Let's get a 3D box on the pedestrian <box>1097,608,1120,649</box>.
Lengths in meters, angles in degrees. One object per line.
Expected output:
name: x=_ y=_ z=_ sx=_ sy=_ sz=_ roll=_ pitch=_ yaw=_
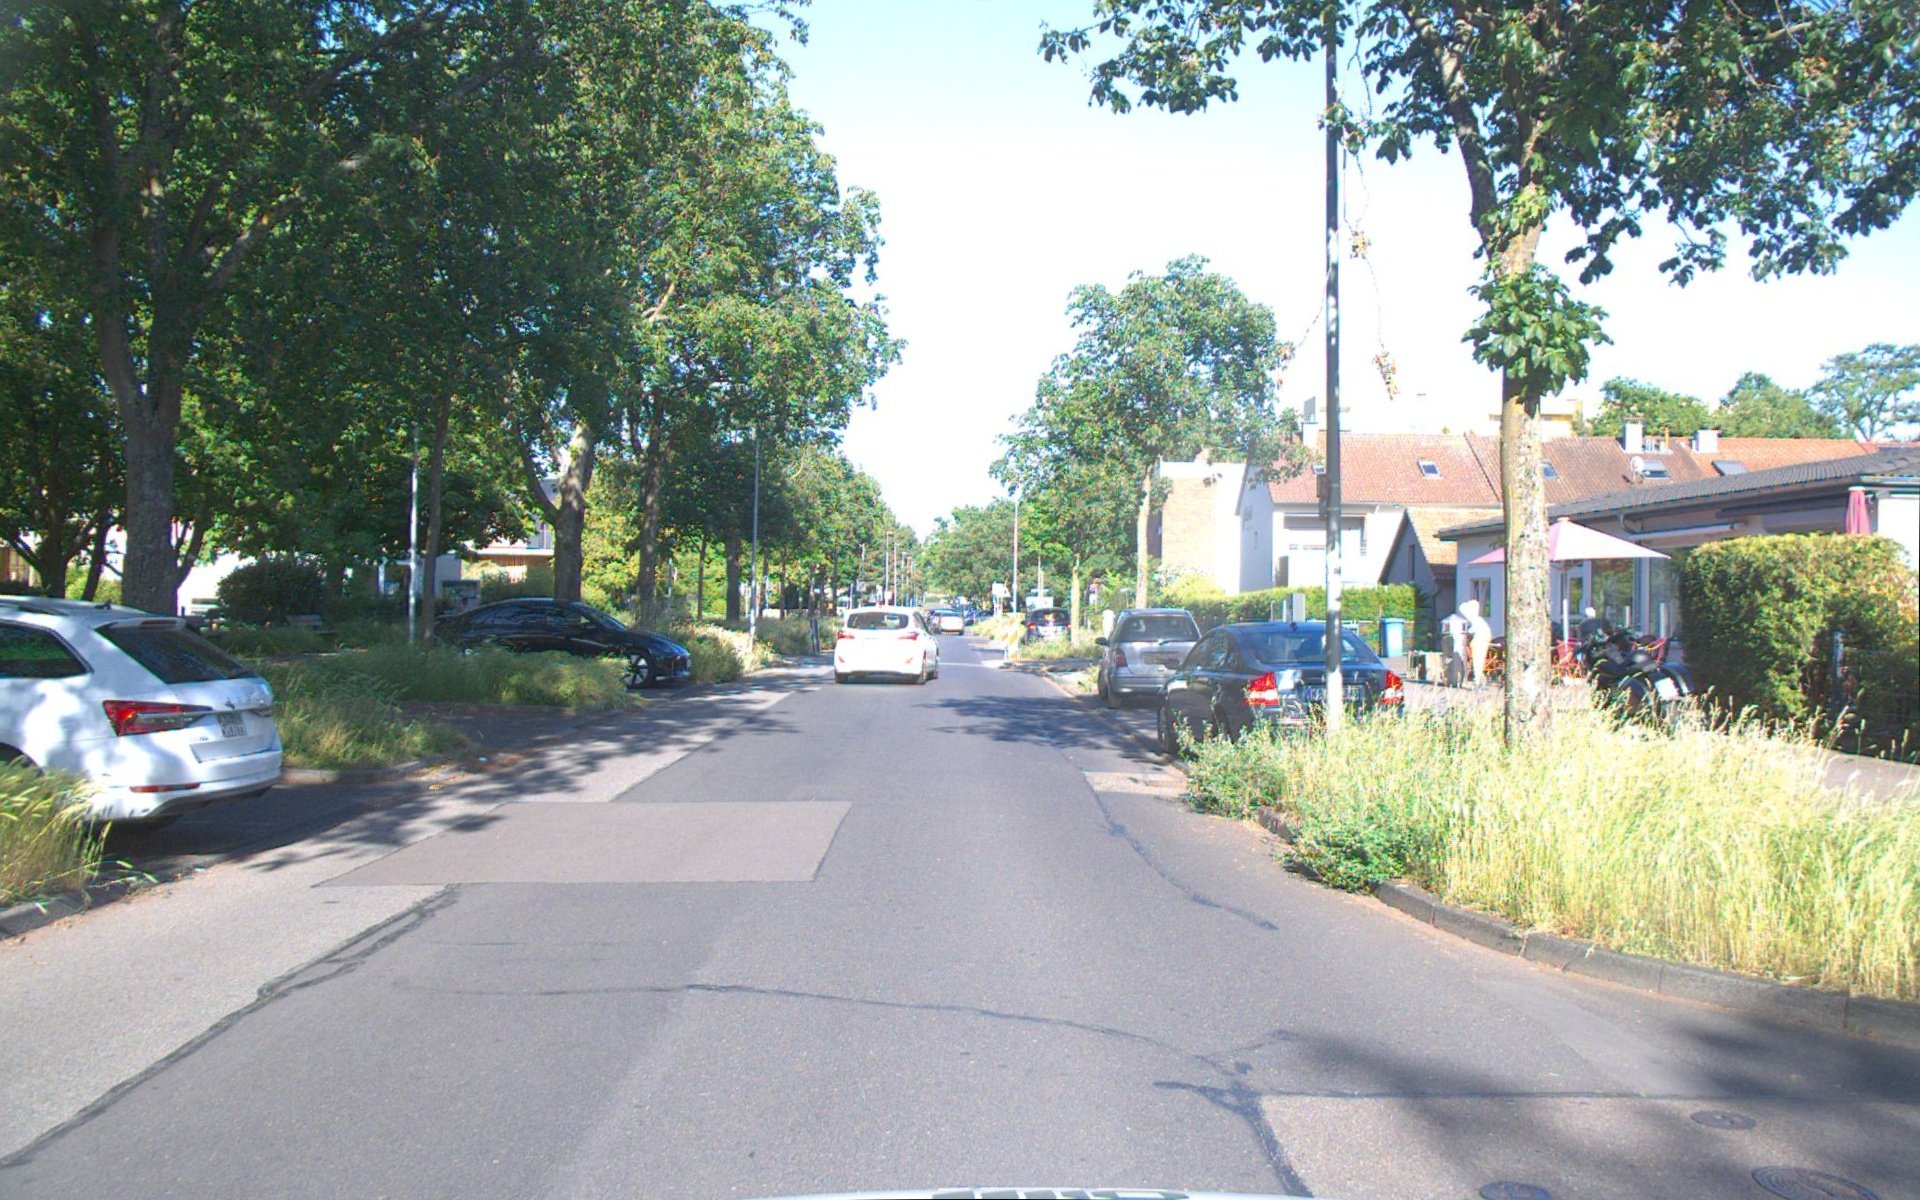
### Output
pedestrian: x=7.577 y=1.459 z=84.511 sx=1.090 sy=2.049 sz=0.921 roll=1 pitch=0 yaw=-1

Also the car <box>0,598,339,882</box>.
car: x=-6.520 y=0.749 z=10.198 sx=4.575 sy=1.530 sz=2.000 roll=1 pitch=0 yaw=1

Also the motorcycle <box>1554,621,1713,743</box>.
motorcycle: x=7.573 y=0.885 z=18.735 sx=0.801 sy=1.248 sz=2.351 roll=-1 pitch=0 yaw=-1

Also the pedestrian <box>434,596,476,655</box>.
pedestrian: x=-16.385 y=0.829 z=53.719 sx=1.205 sy=1.859 sz=1.543 roll=3 pitch=-1 yaw=-17

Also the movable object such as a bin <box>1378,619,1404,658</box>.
movable object such as a bin: x=11.850 y=1.059 z=45.473 sx=0.483 sy=1.050 sz=0.747 roll=-2 pitch=-1 yaw=-2

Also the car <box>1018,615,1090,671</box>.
car: x=3.083 y=1.415 z=55.176 sx=1.954 sy=1.758 sz=3.997 roll=-1 pitch=-1 yaw=-3

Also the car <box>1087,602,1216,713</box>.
car: x=3.187 y=0.928 z=28.284 sx=1.578 sy=1.650 sz=4.381 roll=4 pitch=-1 yaw=0

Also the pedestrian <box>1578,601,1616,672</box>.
pedestrian: x=12.994 y=0.746 z=33.742 sx=0.649 sy=1.433 sz=0.492 roll=-1 pitch=-1 yaw=28

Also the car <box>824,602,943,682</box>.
car: x=-1.468 y=0.795 z=33.356 sx=1.952 sy=1.480 sz=4.226 roll=1 pitch=0 yaw=3

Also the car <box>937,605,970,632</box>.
car: x=-0.432 y=1.165 z=104.223 sx=1.953 sy=1.534 sz=3.657 roll=4 pitch=-1 yaw=-1

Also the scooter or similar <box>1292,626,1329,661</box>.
scooter or similar: x=9.231 y=1.129 z=43.586 sx=0.361 sy=0.873 sz=1.407 roll=1 pitch=0 yaw=-14

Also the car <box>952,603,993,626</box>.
car: x=1.188 y=1.445 z=163.542 sx=3.907 sy=2.049 sz=1.999 roll=2 pitch=-1 yaw=-2

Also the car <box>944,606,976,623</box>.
car: x=0.029 y=1.811 z=205.579 sx=3.907 sy=2.049 sz=1.999 roll=1 pitch=0 yaw=-2

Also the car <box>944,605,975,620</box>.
car: x=-0.111 y=1.611 z=215.852 sx=3.907 sy=1.780 sz=1.999 roll=1 pitch=0 yaw=-3

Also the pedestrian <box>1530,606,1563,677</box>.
pedestrian: x=11.965 y=0.841 z=33.746 sx=0.430 sy=1.409 sz=0.639 roll=2 pitch=-1 yaw=4

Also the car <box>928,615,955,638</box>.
car: x=-1.335 y=1.906 z=119.949 sx=1.780 sy=1.534 sz=3.657 roll=4 pitch=-1 yaw=-1

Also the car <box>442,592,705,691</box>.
car: x=-6.889 y=0.737 z=29.837 sx=4.279 sy=1.558 sz=1.807 roll=3 pitch=-1 yaw=-2

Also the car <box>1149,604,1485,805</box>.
car: x=3.420 y=0.933 z=16.794 sx=1.956 sy=1.650 sz=4.375 roll=4 pitch=-1 yaw=-7
